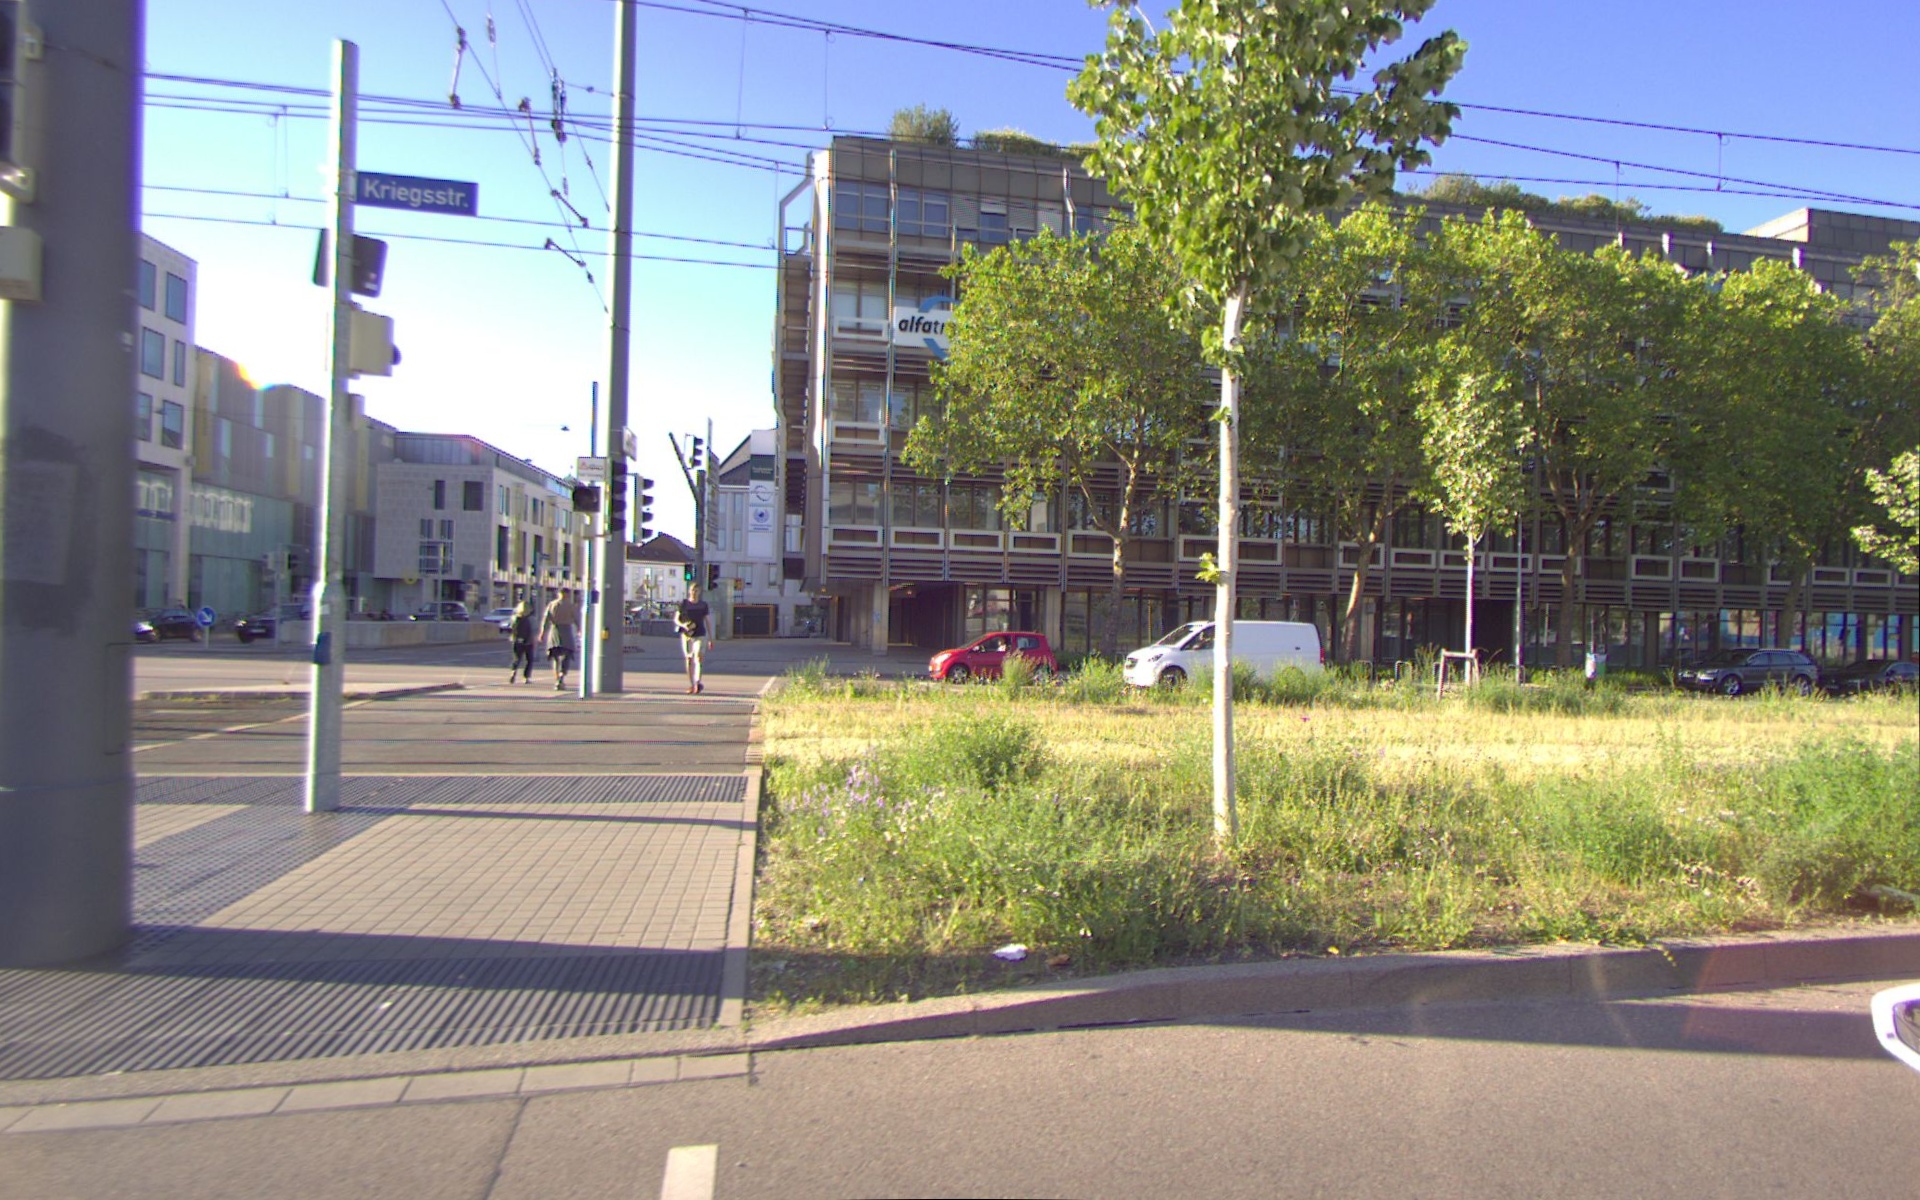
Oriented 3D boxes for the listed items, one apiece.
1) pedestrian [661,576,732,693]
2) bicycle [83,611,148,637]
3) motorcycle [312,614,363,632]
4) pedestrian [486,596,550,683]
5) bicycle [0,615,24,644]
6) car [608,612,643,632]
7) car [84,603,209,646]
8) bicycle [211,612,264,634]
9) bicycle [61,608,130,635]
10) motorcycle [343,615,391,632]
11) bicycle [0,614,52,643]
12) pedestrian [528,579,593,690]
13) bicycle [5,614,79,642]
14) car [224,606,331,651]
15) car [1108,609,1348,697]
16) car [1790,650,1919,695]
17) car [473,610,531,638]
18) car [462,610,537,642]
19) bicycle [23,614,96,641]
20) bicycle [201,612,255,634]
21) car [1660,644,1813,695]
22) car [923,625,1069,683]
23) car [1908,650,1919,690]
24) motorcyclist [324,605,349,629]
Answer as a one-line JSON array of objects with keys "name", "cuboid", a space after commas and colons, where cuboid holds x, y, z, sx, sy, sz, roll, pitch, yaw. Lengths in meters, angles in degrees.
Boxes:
[{"name": "pedestrian", "cuboid": [-4.574, 0.593, 17.508, 0.996, 1.936, 1.050, 2, -1, -7]}, {"name": "bicycle", "cuboid": [-39.540, 1.113, 47.025, 2.428, 1.125, 0.593, 2, -1, -3]}, {"name": "motorcycle", "cuboid": [-40.817, 1.520, 65.888, 2.630, 1.009, 0.914, 4, -1, -11]}, {"name": "pedestrian", "cuboid": [-8.348, 0.735, 19.004, 0.882, 1.570, 0.922, 2, 1, -10]}, {"name": "bicycle", "cuboid": [-39.006, 1.150, 40.179, 2.364, 1.127, 0.657, 2, -1, -5]}, {"name": "car", "cuboid": [-27.086, 1.795, 81.407, 1.907, 1.469, 4.257, 2, -2, -8]}, {"name": "car", "cuboid": [-33.166, 0.983, 41.135, 1.907, 1.602, 4.290, 2, -1, -6]}, {"name": "bicycle", "cuboid": [-40.853, 1.295, 56.817, 2.428, 1.125, 0.660, 2, -1, -3]}, {"name": "bicycle", "cuboid": [-39.133, 0.979, 45.494, 2.428, 1.125, 0.684, 2, -1, -3]}, {"name": "motorcycle", "cuboid": [-40.893, 1.607, 69.338, 2.630, 1.009, 0.914, 4, -1, -11]}, {"name": "bicycle", "cuboid": [-39.130, 1.164, 41.519, 2.428, 1.125, 0.684, 2, -1, -4]}, {"name": "pedestrian", "cuboid": [-6.563, 0.555, 16.538, 0.843, 1.767, 0.737, 2, 0, -12]}, {"name": "bicycle", "cuboid": [-39.189, 1.192, 42.883, 2.428, 1.125, 0.684, 2, -1, -2]}, {"name": "car", "cuboid": [-27.984, 1.148, 41.353, 1.908, 1.699, 4.288, 2, -1, -9]}, {"name": "car", "cuboid": [6.913, 1.402, 26.213, 5.604, 2.040, 2.264, 2, -3, -8]}, {"name": "car", "cuboid": [34.890, 2.796, 38.943, 3.926, 1.541, 1.998, 2, 0, -7]}, {"name": "car", "cuboid": [-30.568, 1.611, 67.227, 2.142, 1.714, 5.606, 2, -2, -10]}, {"name": "car", "cuboid": [-26.803, 1.537, 58.708, 2.140, 1.714, 5.484, 2, -2, -5]}, {"name": "bicycle", "cuboid": [-39.156, 1.197, 43.696, 2.428, 1.125, 0.684, 2, -1, -3]}, {"name": "bicycle", "cuboid": [-40.880, 1.271, 56.130, 2.428, 1.125, 0.660, 2, -1, -3]}, {"name": "car", "cuboid": [29.394, 2.624, 38.076, 4.785, 1.702, 1.995, 2, 0, -13]}, {"name": "car", "cuboid": [0.973, 1.539, 28.357, 3.810, 1.505, 1.844, 2, -4, -10]}, {"name": "car", "cuboid": [40.530, 2.901, 39.987, 4.542, 1.578, 1.745, 2, 0, -12]}, {"name": "motorcyclist", "cuboid": [-40.873, 1.112, 65.868, 1.021, 1.490, 0.914, 3, -1, -11]}]
